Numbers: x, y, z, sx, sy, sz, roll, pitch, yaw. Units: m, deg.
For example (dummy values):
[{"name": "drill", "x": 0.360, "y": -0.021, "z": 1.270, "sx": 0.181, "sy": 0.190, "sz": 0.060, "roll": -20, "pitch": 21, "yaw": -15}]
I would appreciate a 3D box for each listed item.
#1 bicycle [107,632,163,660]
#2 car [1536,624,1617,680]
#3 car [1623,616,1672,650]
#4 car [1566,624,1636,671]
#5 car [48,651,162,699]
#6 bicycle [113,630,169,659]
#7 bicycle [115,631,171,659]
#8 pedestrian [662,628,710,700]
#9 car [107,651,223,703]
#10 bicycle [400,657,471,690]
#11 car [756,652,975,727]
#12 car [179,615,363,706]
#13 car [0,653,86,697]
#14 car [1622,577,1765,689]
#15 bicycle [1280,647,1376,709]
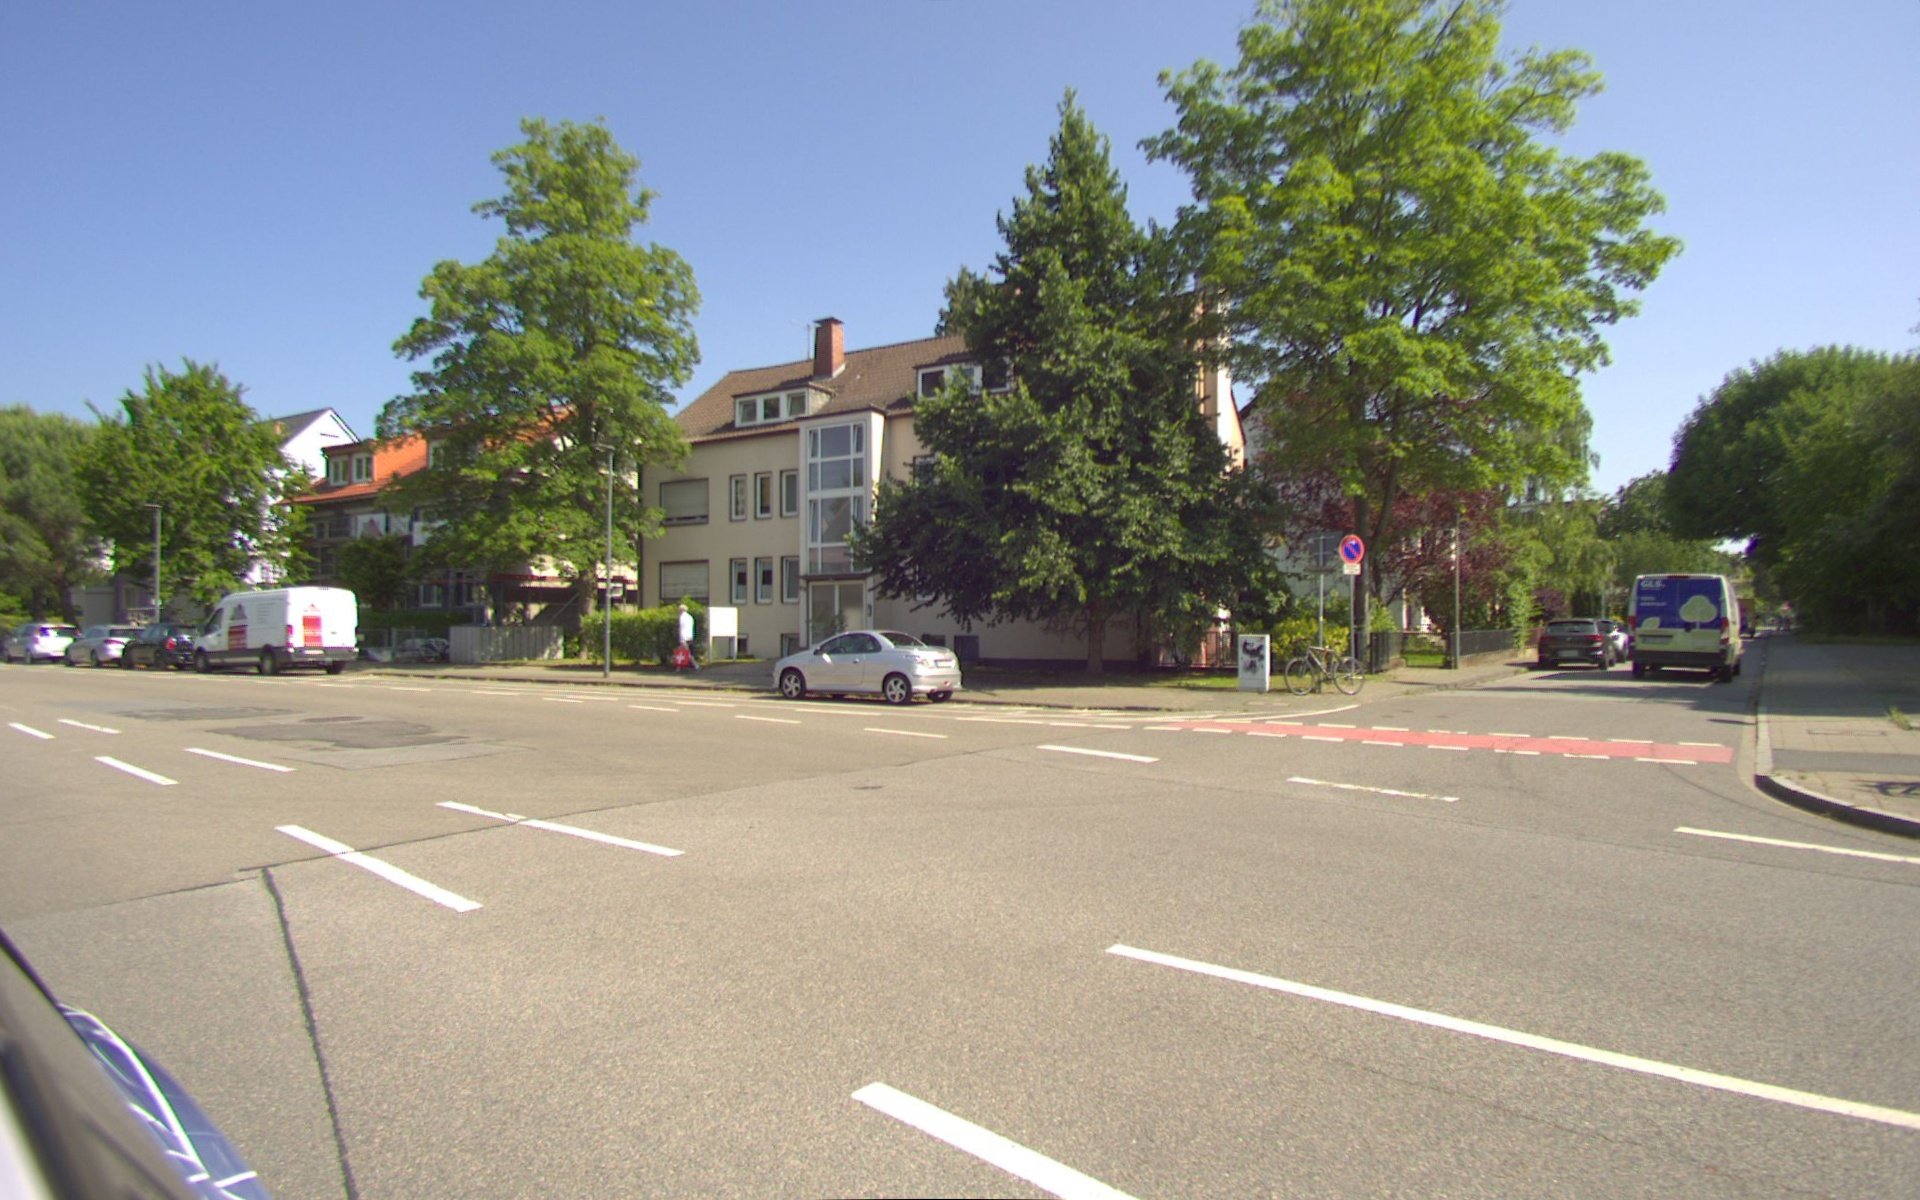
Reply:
[{"name": "bicycle", "x": -42.059, "y": 2.336, "z": 51.637, "sx": 0.500, "sy": 1.394, "sz": 2.158, "roll": -2, "pitch": -3, "yaw": 27}, {"name": "car", "x": 18.801, "y": 1.540, "z": 30.785, "sx": 1.745, "sy": 1.564, "sz": 3.748, "roll": -2, "pitch": -2, "yaw": 36}, {"name": "car", "x": 37.058, "y": 1.772, "z": 54.502, "sx": 1.862, "sy": 1.719, "sz": 3.948, "roll": -3, "pitch": -2, "yaw": 38}, {"name": "car", "x": 22.417, "y": 1.627, "z": 35.347, "sx": 1.745, "sy": 1.564, "sz": 3.748, "roll": -2, "pitch": -2, "yaw": 36}, {"name": "car", "x": -30.128, "y": 2.600, "z": 35.619, "sx": 4.656, "sy": 1.571, "sz": 1.707, "roll": -2, "pitch": -3, "yaw": 32}, {"name": "bicycle", "x": -40.830, "y": 2.224, "z": 50.477, "sx": 0.501, "sy": 1.394, "sz": 2.158, "roll": -2, "pitch": -3, "yaw": 27}, {"name": "bicycle", "x": -41.158, "y": 2.262, "z": 51.041, "sx": 0.501, "sy": 1.394, "sz": 2.158, "roll": -2, "pitch": -3, "yaw": 27}, {"name": "pedestrian", "x": -7.099, "y": 1.640, "z": 26.275, "sx": 0.724, "sy": 1.793, "sz": 0.965, "roll": -2, "pitch": -2, "yaw": 36}, {"name": "car", "x": -26.012, "y": 2.481, "z": 33.090, "sx": 3.986, "sy": 1.571, "sz": 1.707, "roll": -2, "pitch": -3, "yaw": 32}, {"name": "bicycle", "x": -17.972, "y": 2.505, "z": 34.729, "sx": 0.773, "sy": 1.008, "sz": 2.051, "roll": -2, "pitch": -1, "yaw": 33}, {"name": "car", "x": -1.851, "y": 1.653, "z": 19.375, "sx": 3.986, "sy": 1.276, "sz": 1.707, "roll": -2, "pitch": -3, "yaw": 32}, {"name": "car", "x": -20.682, "y": 1.779, "z": 30.326, "sx": 5.925, "sy": 2.516, "sz": 2.075, "roll": -2, "pitch": -3, "yaw": 29}, {"name": "car", "x": -35.342, "y": 2.845, "z": 38.771, "sx": 3.986, "sy": 1.571, "sz": 1.707, "roll": -2, "pitch": -3, "yaw": 32}, {"name": "car", "x": 18.931, "y": 0.863, "z": 25.987, "sx": 2.283, "sy": 2.543, "sz": 6.049, "roll": -2, "pitch": -3, "yaw": 42}, {"name": "bicycle", "x": 6.907, "y": 1.453, "z": 18.986, "sx": 1.688, "sy": 1.089, "sz": 0.378, "roll": -1, "pitch": -2, "yaw": -10}]
